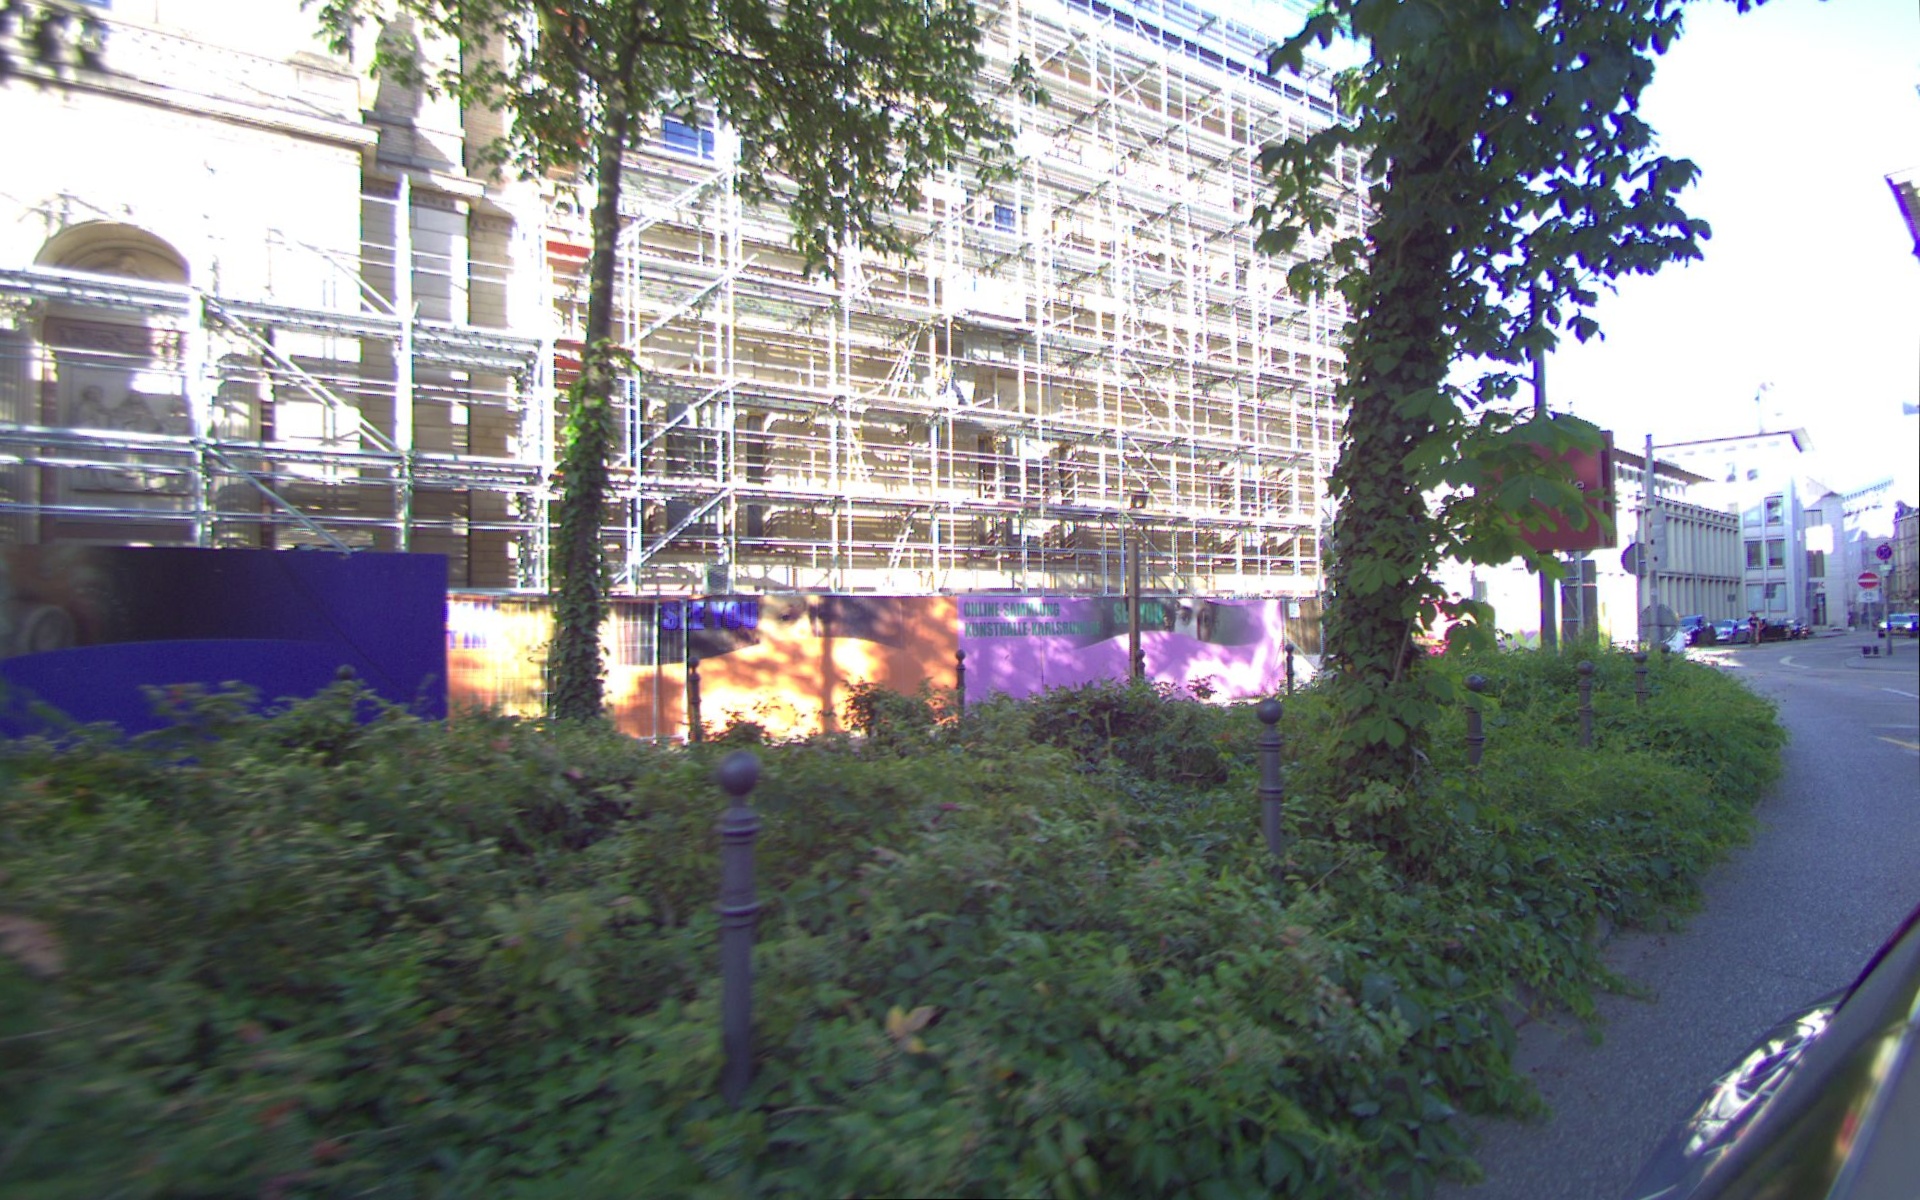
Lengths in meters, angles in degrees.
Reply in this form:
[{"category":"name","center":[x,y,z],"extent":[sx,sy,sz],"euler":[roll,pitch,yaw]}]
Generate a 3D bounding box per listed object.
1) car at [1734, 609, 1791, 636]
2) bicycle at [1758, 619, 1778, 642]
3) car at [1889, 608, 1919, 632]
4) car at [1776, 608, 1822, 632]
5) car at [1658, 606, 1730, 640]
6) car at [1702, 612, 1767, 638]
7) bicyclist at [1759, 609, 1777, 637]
[{"category":"car","center":[47.088,1.323,59.360],"extent":[4.707,1.489,1.699],"euler":[0,-3,-41]},{"category":"bicycle","center":[38.566,1.443,48.299],"extent":[1.401,1.080,0.534],"euler":[0,-3,-43]},{"category":"car","center":[63.306,1.290,67.300],"extent":[4.182,1.511,1.851],"euler":[0,-3,-42]},{"category":"car","center":[55.425,1.332,66.841],"extent":[4.182,1.511,1.695],"euler":[0,-3,-42]},{"category":"car","center":[37.222,1.161,51.284],"extent":[4.540,1.645,1.897],"euler":[0,-3,-40]},{"category":"car","center":[42.739,1.360,55.809],"extent":[4.514,1.362,1.700],"euler":[0,-3,-38]},{"category":"bicyclist","center":[38.554,1.110,48.305],"extent":[0.542,1.305,0.537],"euler":[1,-3,-43]}]
